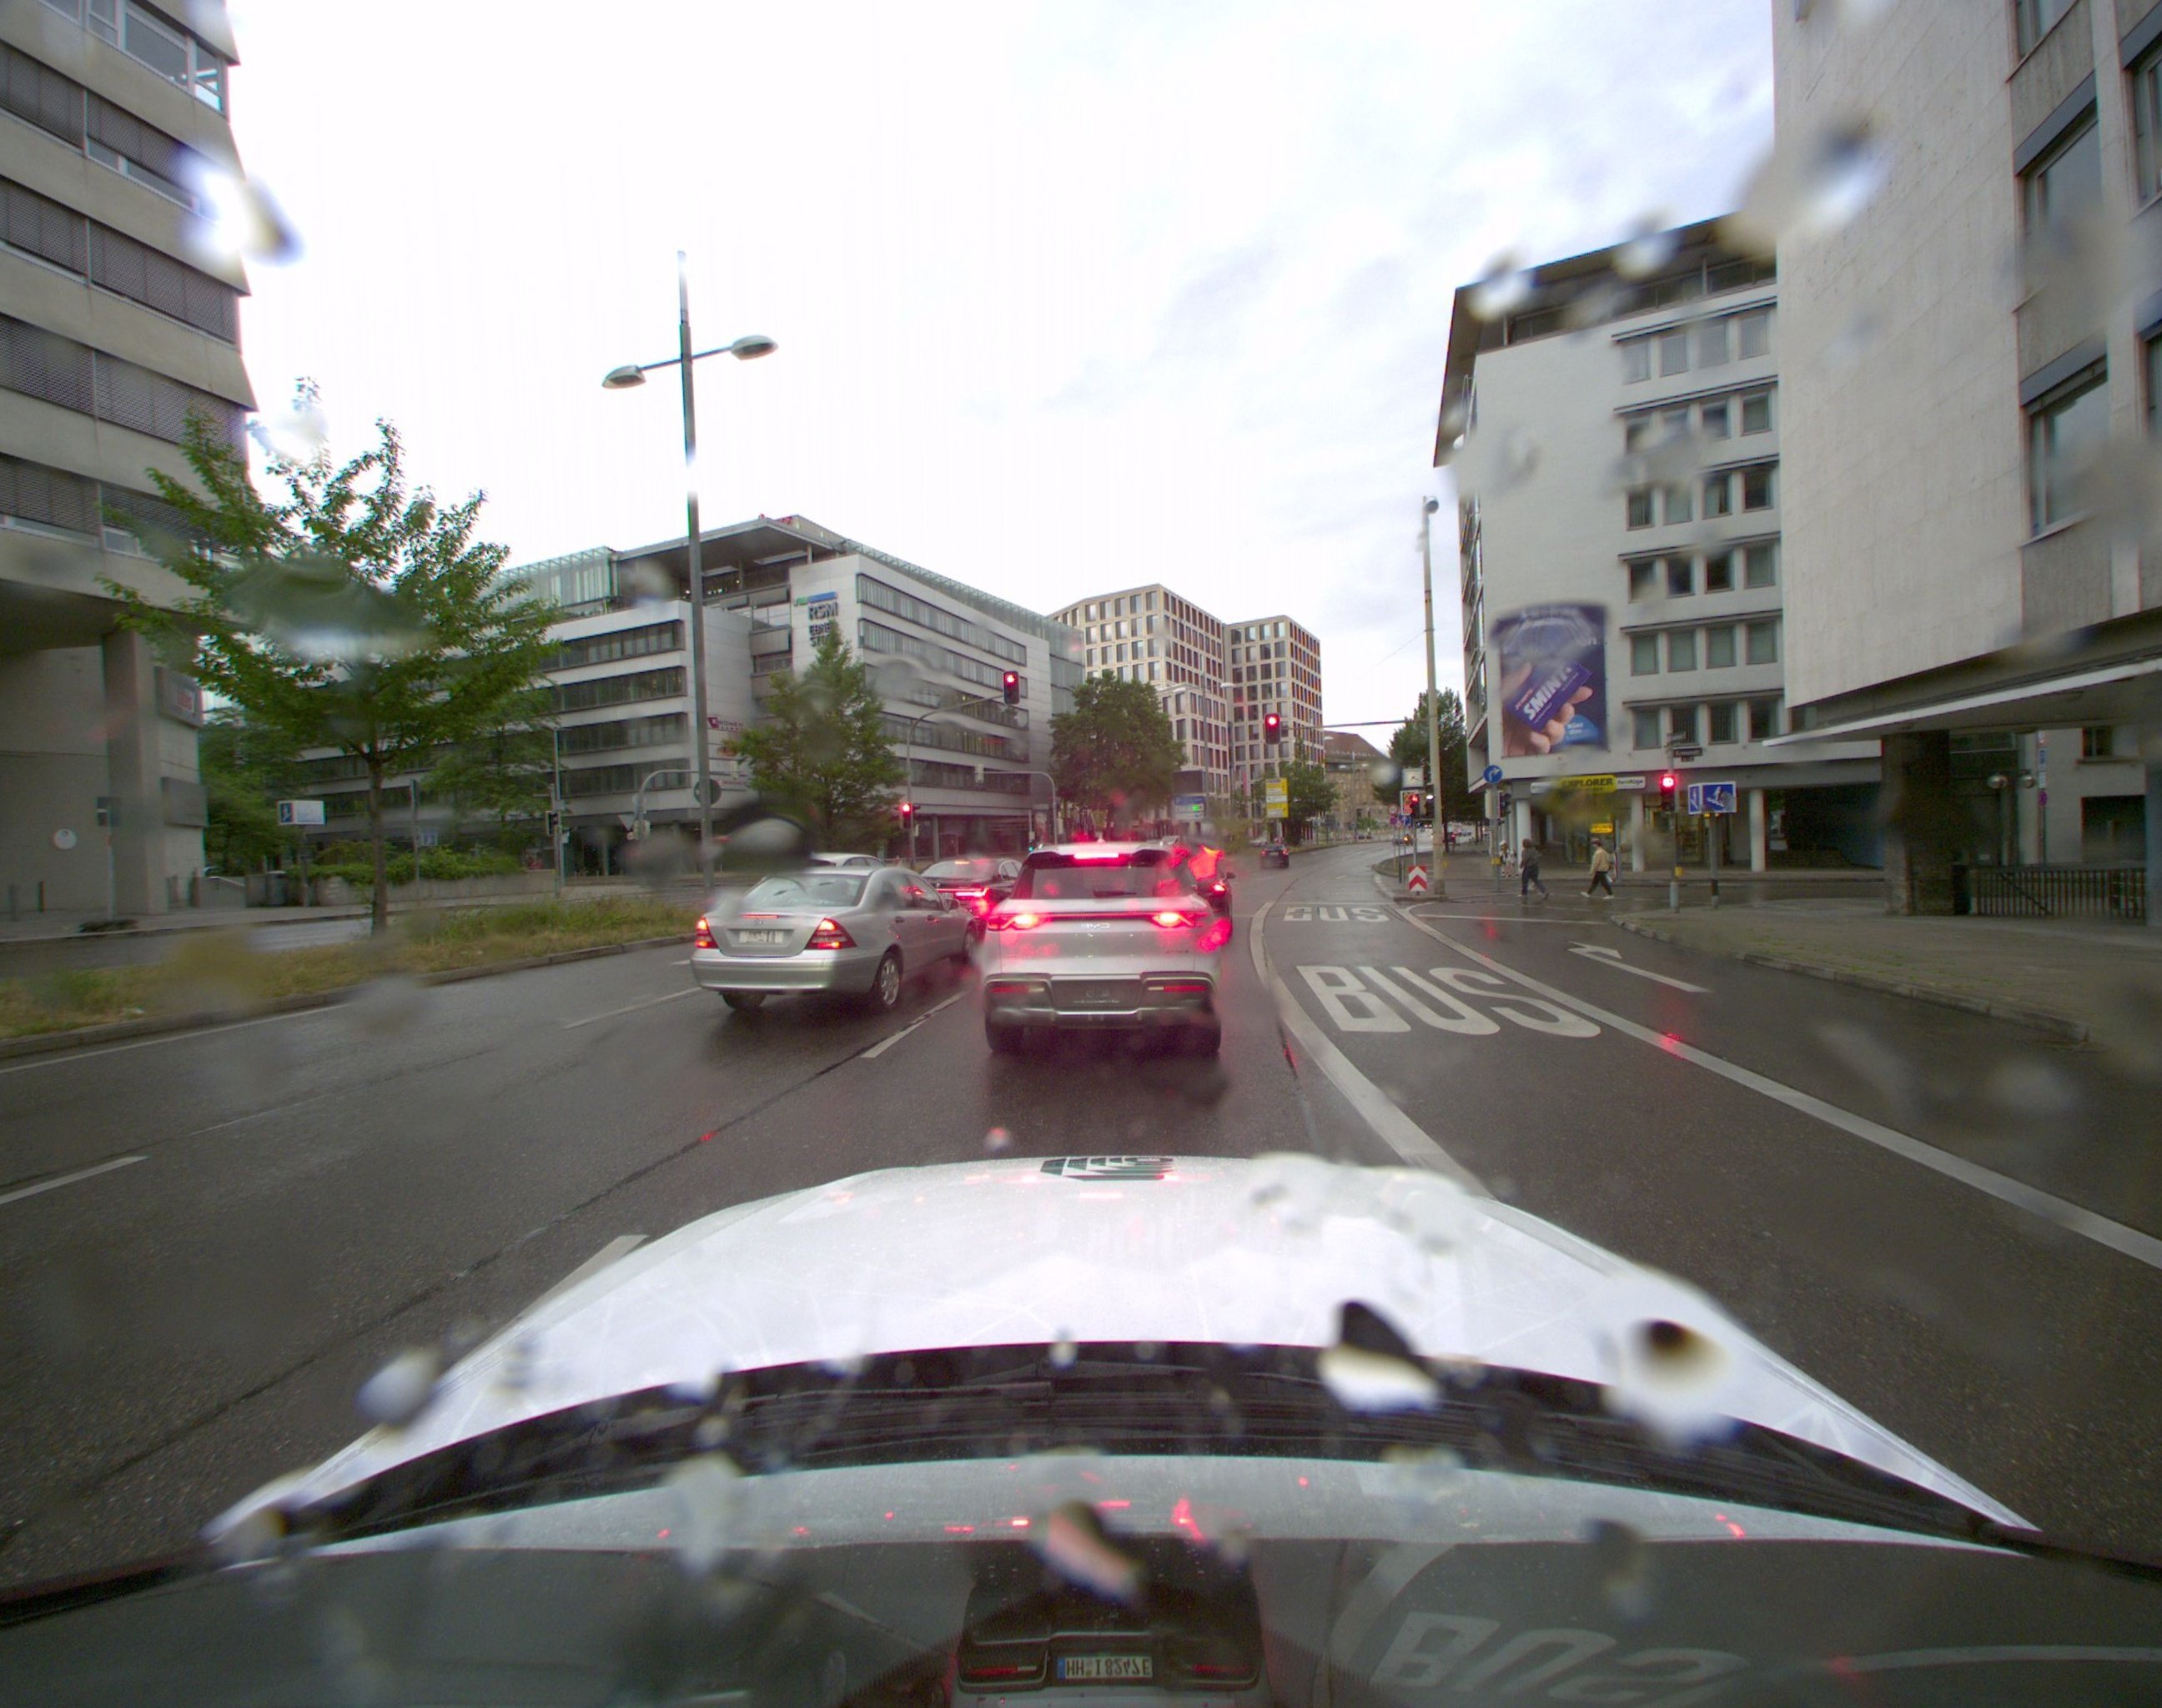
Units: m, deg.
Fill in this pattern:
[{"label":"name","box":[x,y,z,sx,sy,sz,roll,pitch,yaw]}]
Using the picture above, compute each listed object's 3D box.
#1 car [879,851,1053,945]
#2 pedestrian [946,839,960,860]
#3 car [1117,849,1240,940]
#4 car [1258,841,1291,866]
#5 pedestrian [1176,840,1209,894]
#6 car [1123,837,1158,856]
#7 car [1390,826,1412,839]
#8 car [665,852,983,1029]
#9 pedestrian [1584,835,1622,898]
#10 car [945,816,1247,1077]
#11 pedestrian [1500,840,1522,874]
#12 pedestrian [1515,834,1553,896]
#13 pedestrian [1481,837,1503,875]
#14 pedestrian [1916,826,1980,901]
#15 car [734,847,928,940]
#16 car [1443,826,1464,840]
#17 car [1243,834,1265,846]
[{"label":"car","box":[-2.024,0.743,15.611,1.941,1.530,4.014,-1,0,13]},{"label":"pedestrian","box":[-10.474,-0.357,66.783,0.721,1.727,0.930,-1,0,23]},{"label":"car","box":[2.055,0.689,16.011,1.941,1.530,4.014,-1,0,13]},{"label":"car","box":[12.775,-0.058,53.557,1.979,1.552,4.017,0,1,15]},{"label":"pedestrian","box":[3.644,0.421,26.752,0.920,1.738,0.729,-2,0,-3]},{"label":"car","box":[5.957,-0.796,81.172,1.975,1.705,4.025,-1,2,27]},{"label":"car","box":[37.798,-2.514,96.141,1.892,1.510,4.383,0,1,29]},{"label":"car","box":[-2.523,0.763,9.203,1.672,1.486,4.207,-1,0,9]},{"label":"pedestrian","box":[15.250,0.348,23.800,0.721,1.798,0.742,-1,0,17]},{"label":"car","box":[0.321,0.615,7.736,1.983,1.709,4.490,-2,0,6]},{"label":"pedestrian","box":[19.408,0.134,36.788,0.721,1.524,0.763,-1,-1,17]},{"label":"pedestrian","box":[13.387,0.326,24.087,0.806,1.798,0.714,-1,0,17]},{"label":"pedestrian","box":[18.737,0.089,37.139,0.721,1.668,0.694,-1,-1,17]},{"label":"pedestrian","box":[20.814,0.220,19.578,0.800,1.755,1.005,0,-1,-44]},{"label":"car","box":[-4.810,0.684,16.315,1.871,1.596,4.015,-1,0,14]},{"label":"car","box":[48.300,-2.647,105.657,2.027,1.765,4.384,0,1,30]},{"label":"car","box":[25.326,-2.074,119.201,1.975,1.705,4.336,-1,2,29]}]
